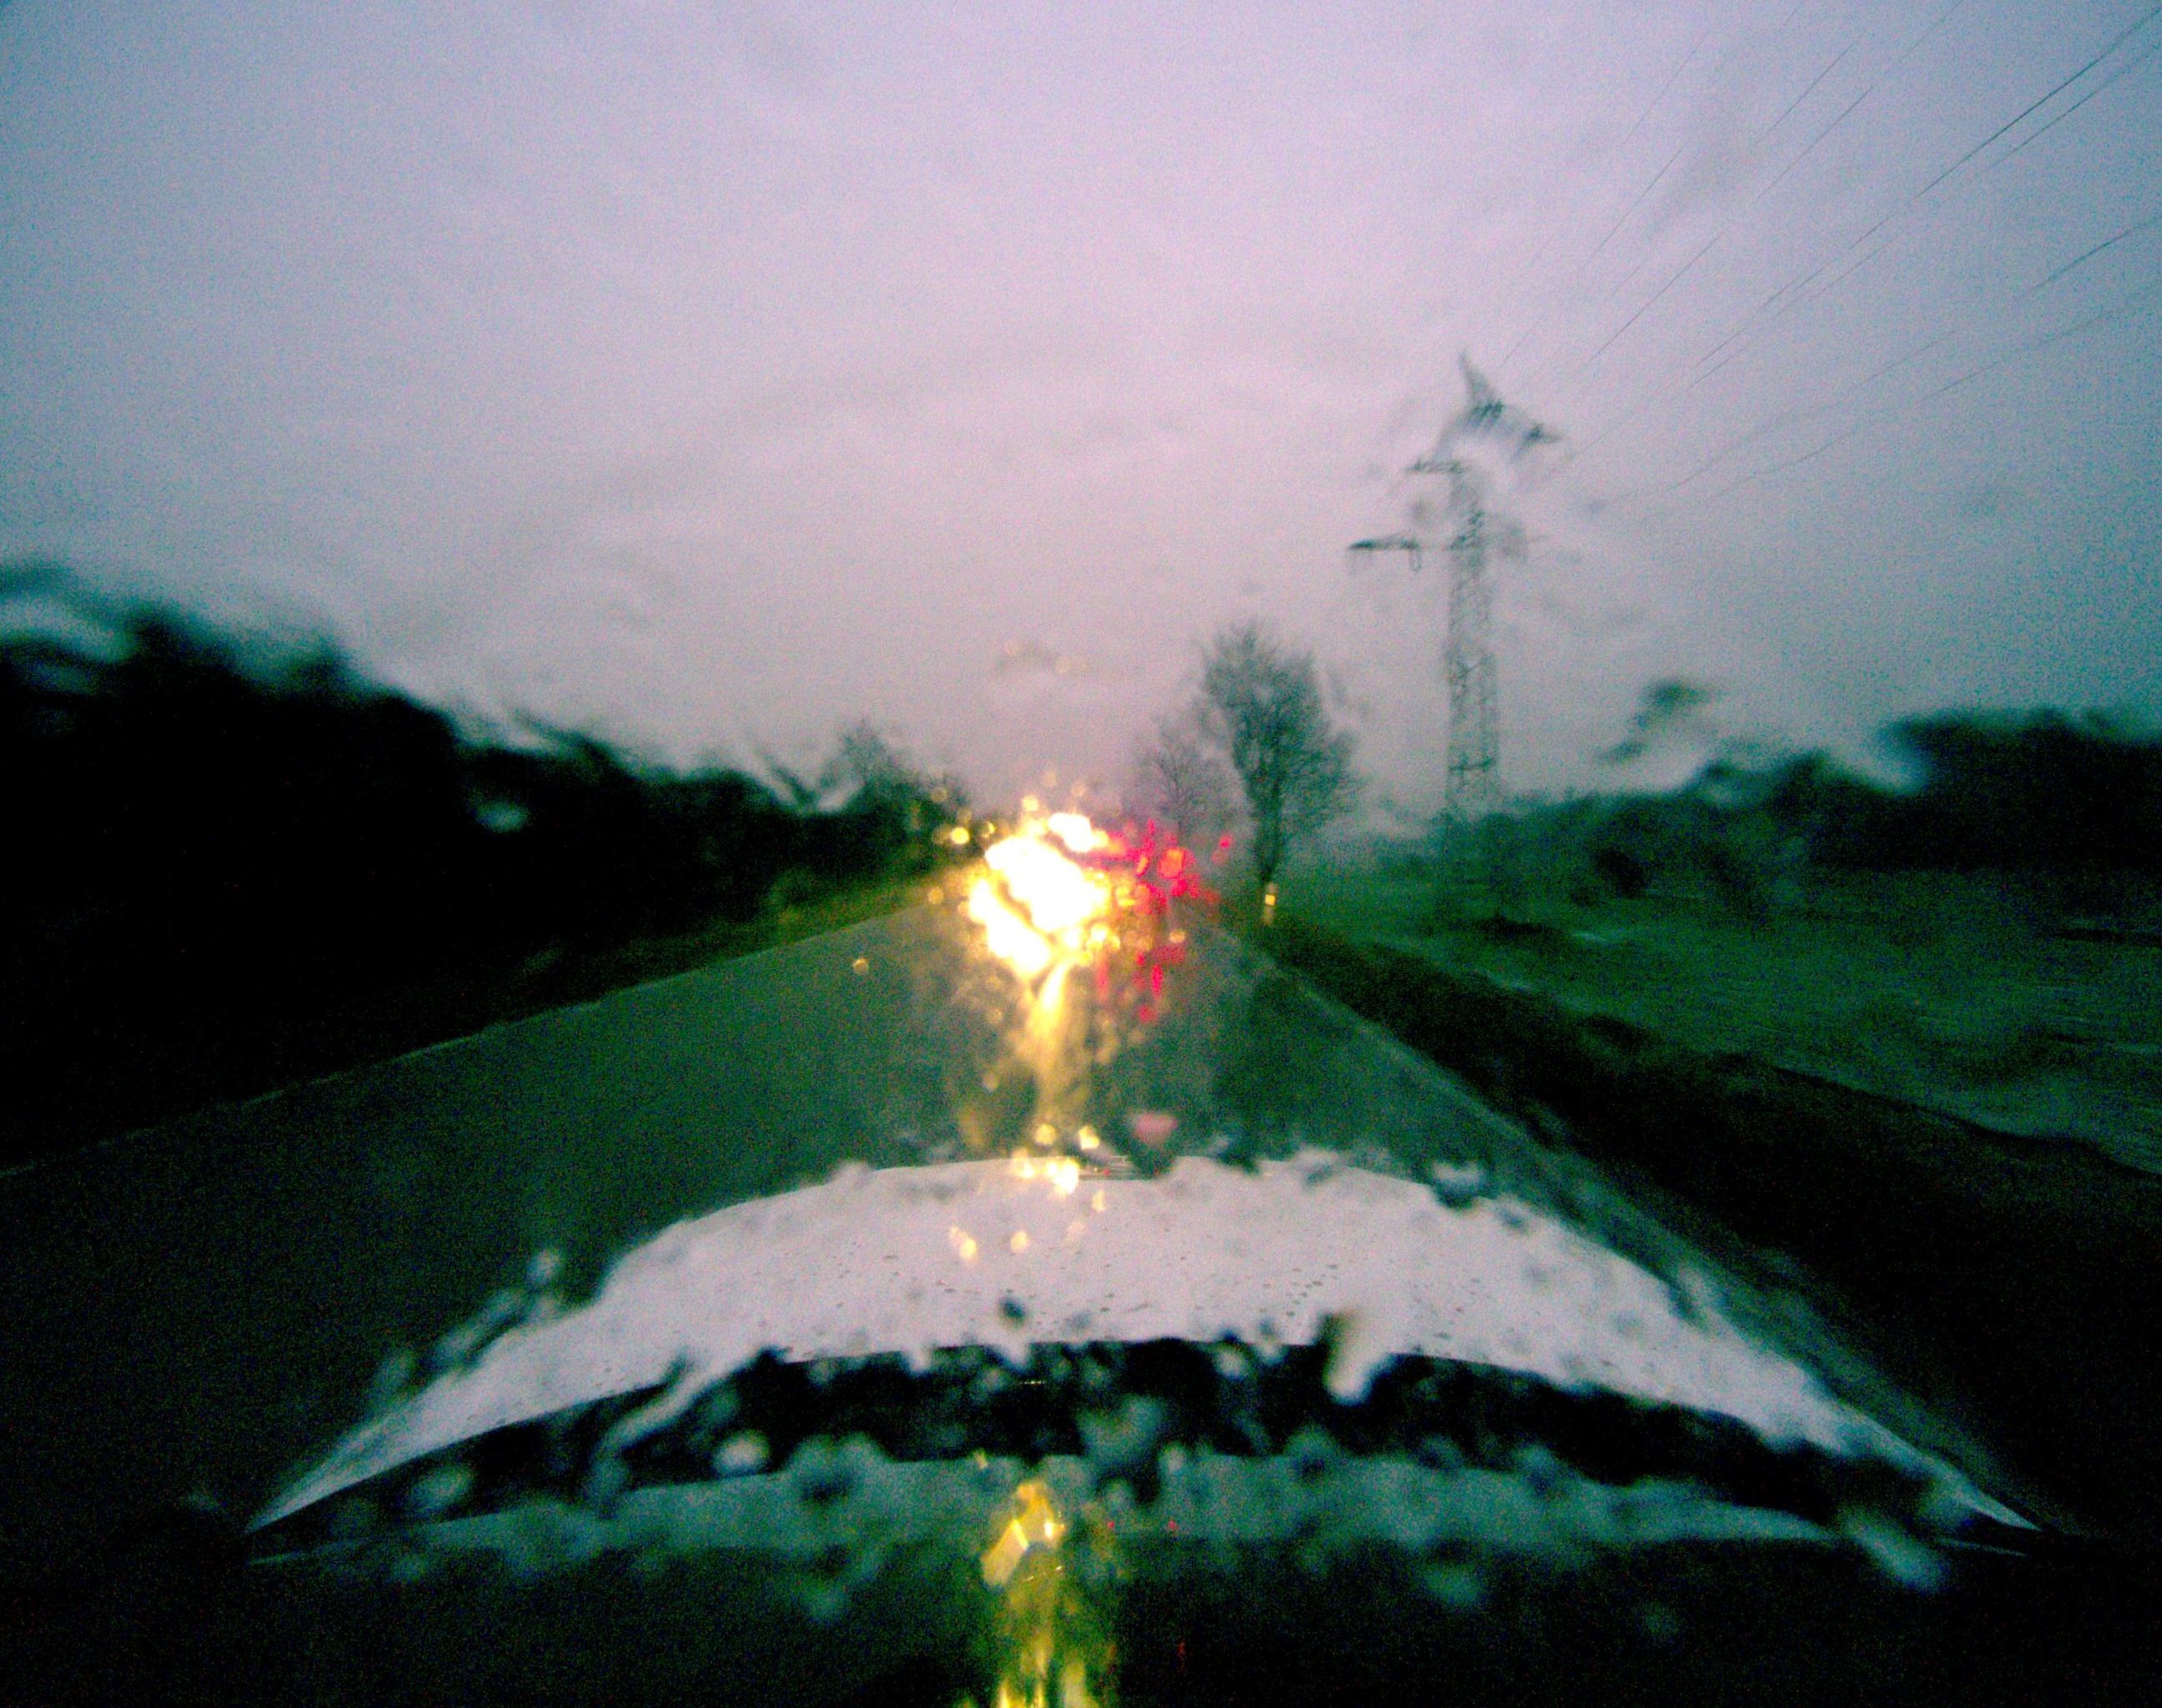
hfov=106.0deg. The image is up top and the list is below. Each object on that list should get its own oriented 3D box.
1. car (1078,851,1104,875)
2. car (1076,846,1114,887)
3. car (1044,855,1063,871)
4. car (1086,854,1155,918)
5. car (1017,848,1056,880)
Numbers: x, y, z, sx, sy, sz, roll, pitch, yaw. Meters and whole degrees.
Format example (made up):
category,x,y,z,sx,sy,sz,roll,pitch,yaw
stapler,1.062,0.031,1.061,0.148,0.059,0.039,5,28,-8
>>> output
category,x,y,z,sx,sy,sz,roll,pitch,yaw
car,0.786,0.673,60.818,1.856,1.700,4.469,-1,0,1
car,0.790,0.639,42.909,1.844,2.013,4.004,0,0,3
car,-2.698,0.866,80.206,1.650,1.486,3.670,0,0,1
car,0.958,0.698,19.327,1.494,1.398,3.202,0,0,3
car,-2.469,0.539,46.549,1.856,1.700,4.469,-1,0,1
